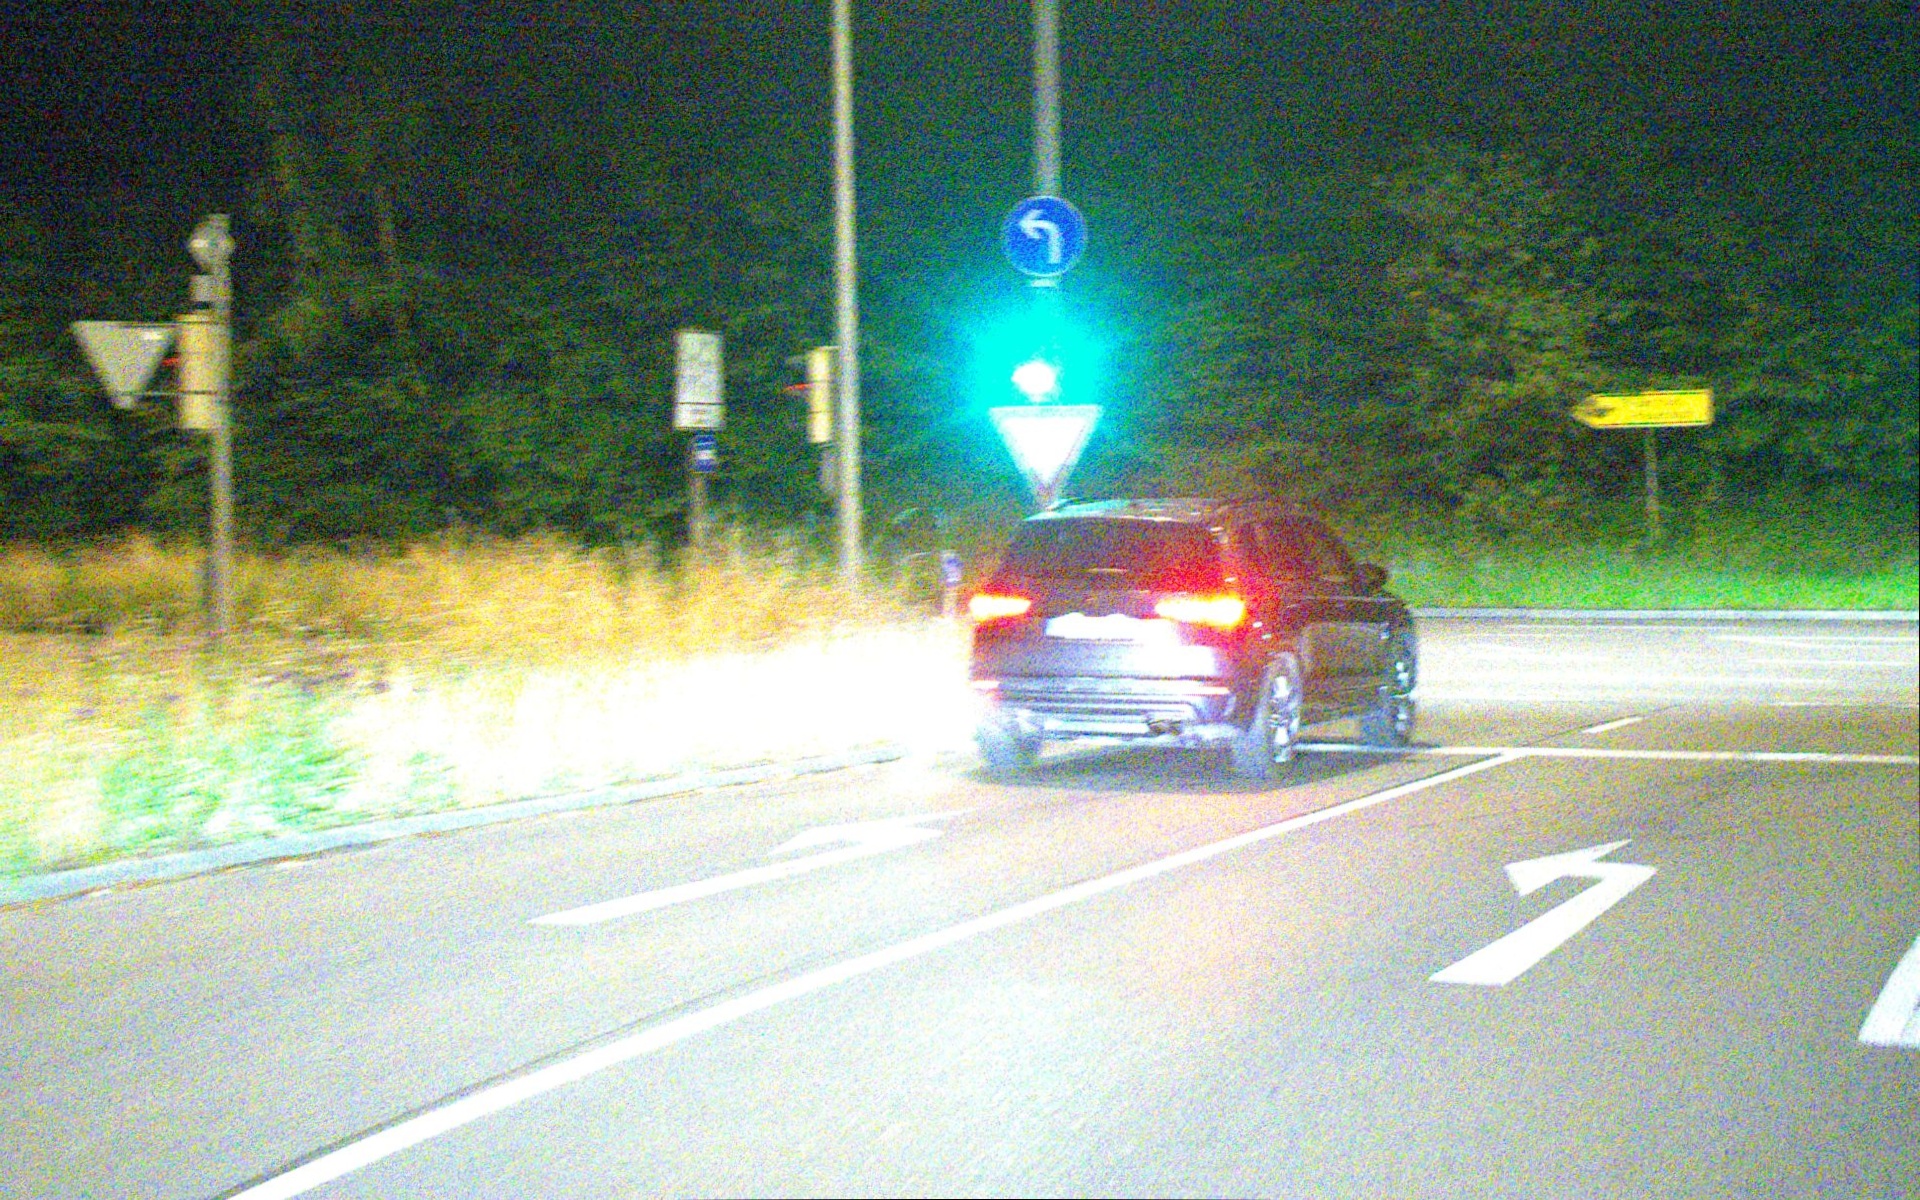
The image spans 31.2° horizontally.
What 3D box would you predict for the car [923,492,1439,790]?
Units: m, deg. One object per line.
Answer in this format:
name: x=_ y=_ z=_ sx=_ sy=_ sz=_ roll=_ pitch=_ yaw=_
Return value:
car: x=1.440 y=0.155 z=20.696 sx=1.854 sy=1.577 sz=4.002 roll=2 pitch=2 yaw=23
